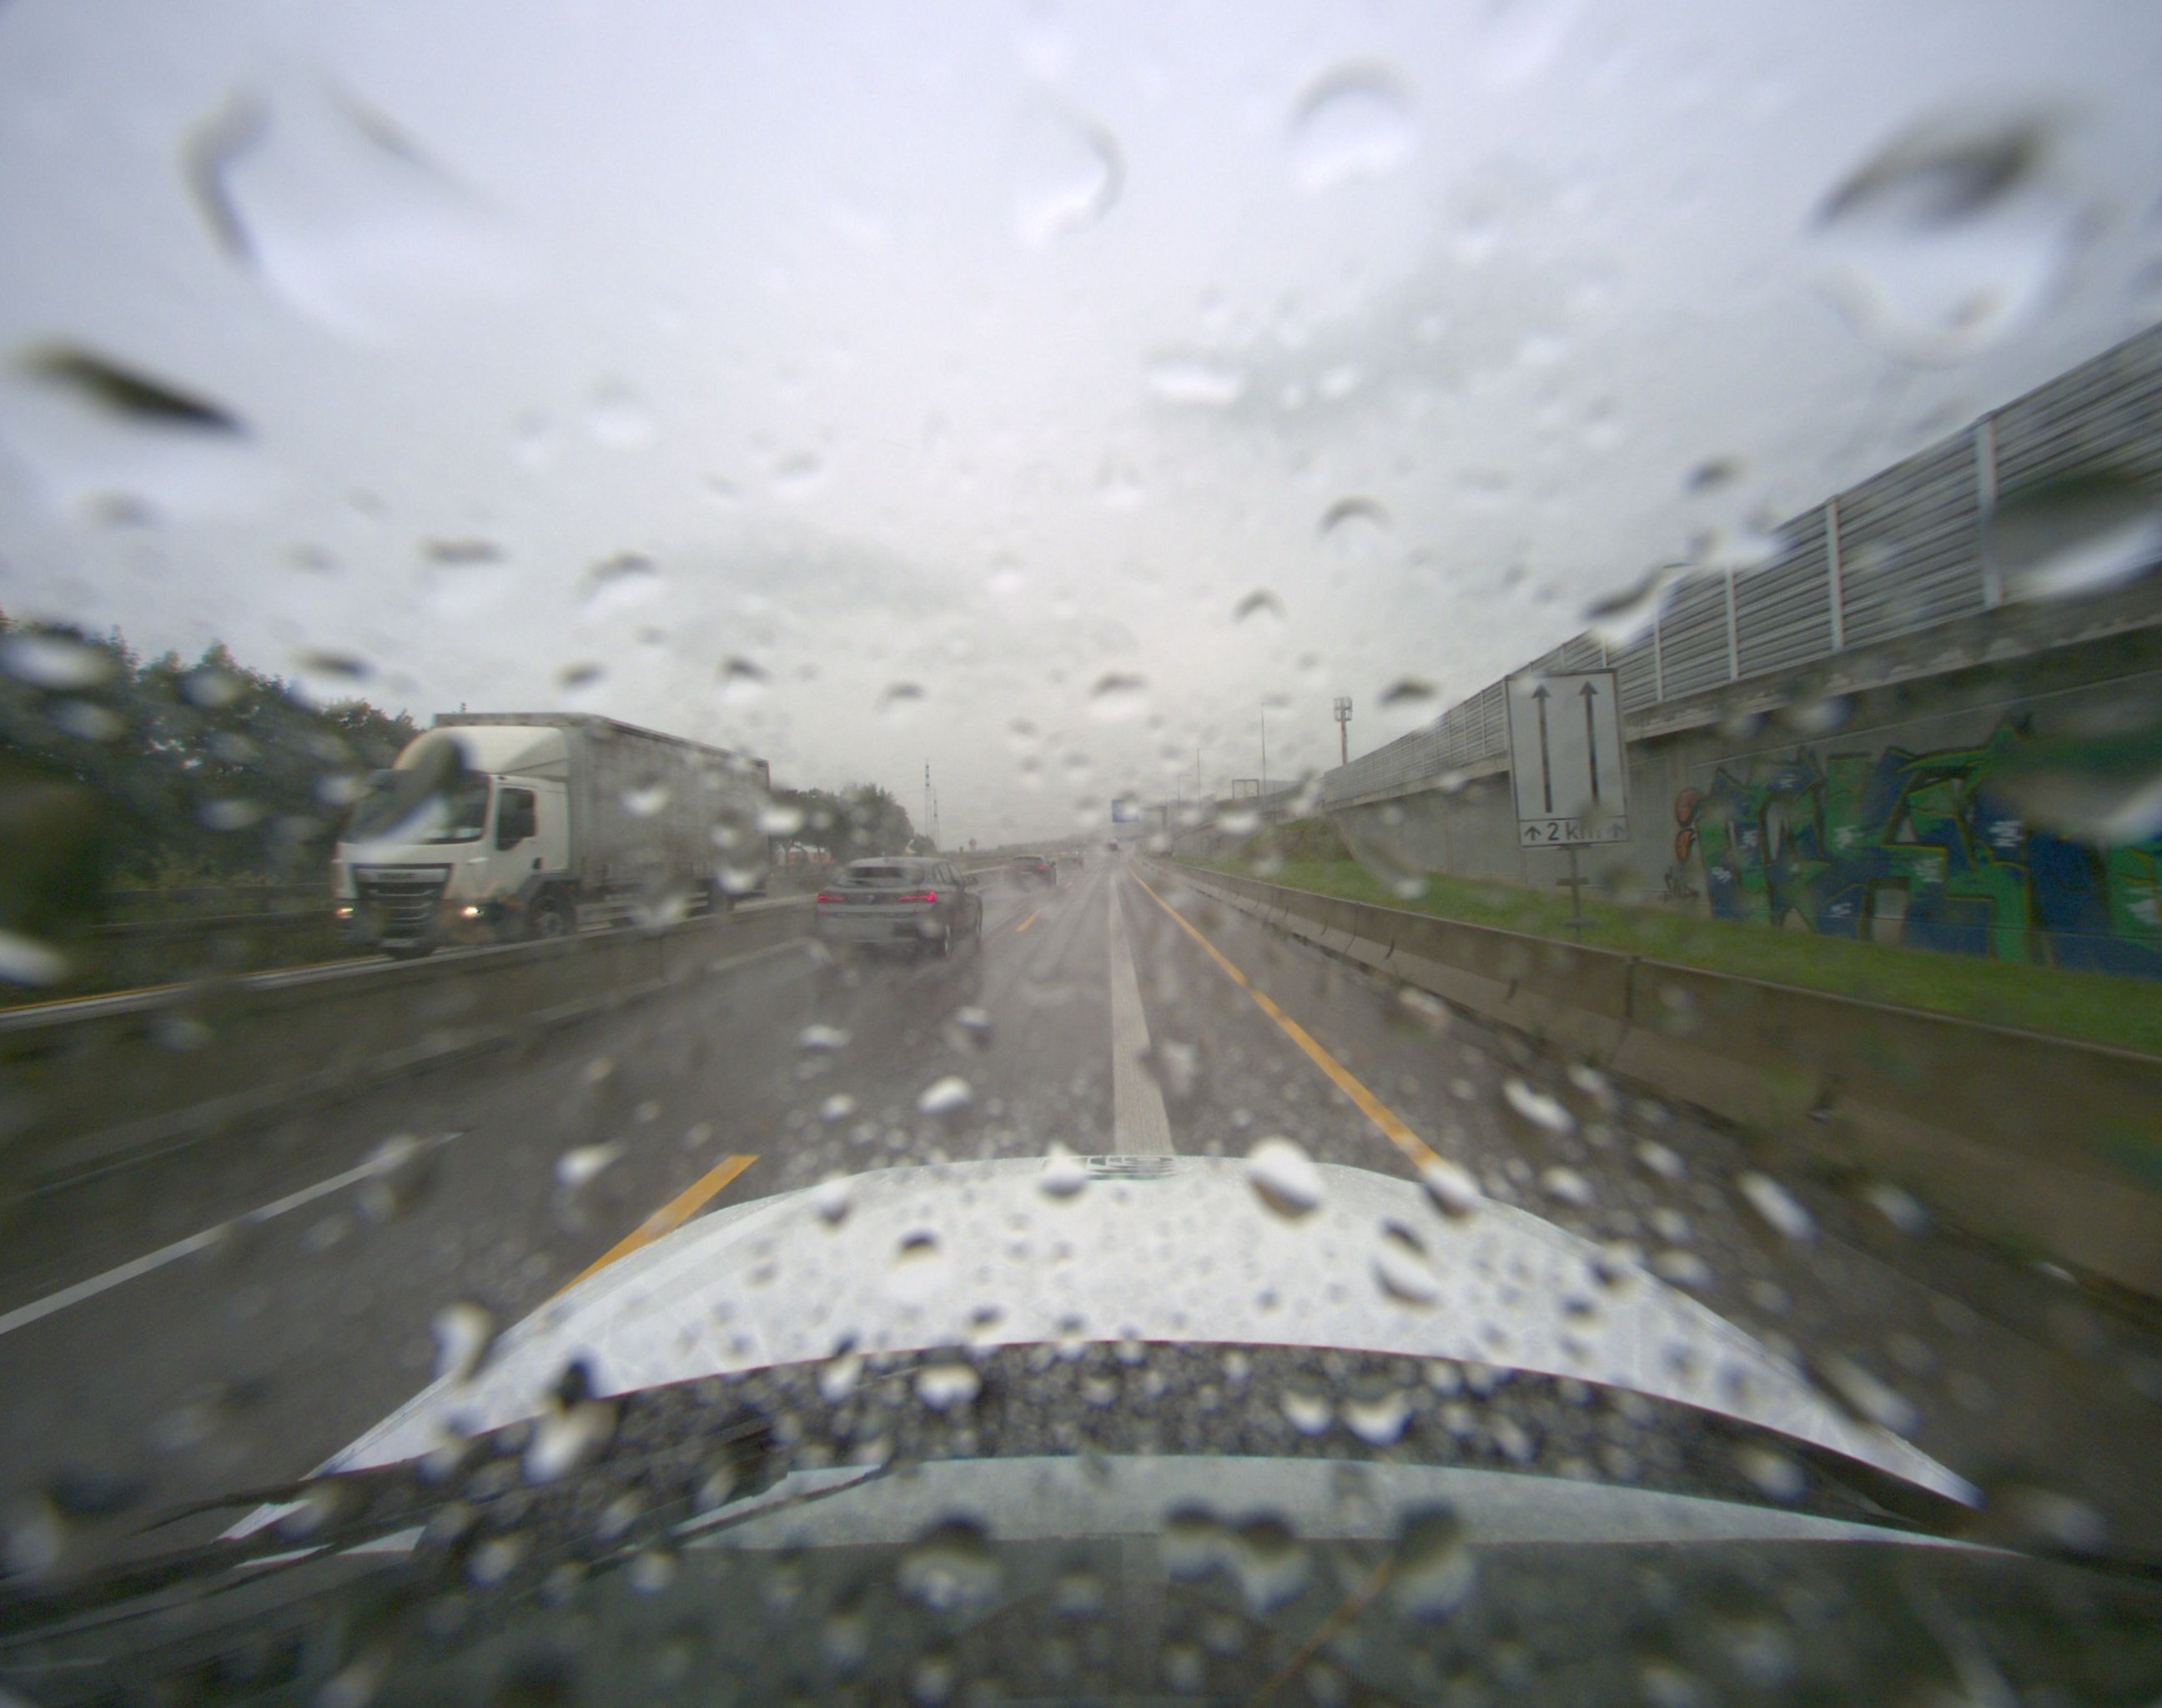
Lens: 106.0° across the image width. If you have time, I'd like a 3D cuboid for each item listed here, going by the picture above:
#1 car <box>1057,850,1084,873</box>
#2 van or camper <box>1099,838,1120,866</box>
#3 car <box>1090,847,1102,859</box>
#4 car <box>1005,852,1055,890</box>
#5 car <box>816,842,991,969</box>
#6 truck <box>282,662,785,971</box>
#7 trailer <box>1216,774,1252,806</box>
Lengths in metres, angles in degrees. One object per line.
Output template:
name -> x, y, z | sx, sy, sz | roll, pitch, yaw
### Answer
car -> -0.775, 0.501, 60.037 | 1.838, 1.491, 4.261 | -4, 0, 0
van or camper -> 2.936, -0.199, 83.926 | 1.990, 2.777, 4.048 | -1, -1, 0
car -> 2.195, -0.123, 116.384 | 1.562, 1.480, 2.820 | -4, -1, -1
car -> -2.115, 0.719, 34.783 | 1.838, 1.491, 4.260 | -1, -1, 0
car -> -2.550, 0.694, 12.861 | 1.695, 1.598, 4.844 | -1, -1, 0
truck -> -9.386, -0.460, 16.175 | 2.993, 4.166, 9.834 | -2, -1, 2
trailer -> 16.253, -6.699, 87.168 | 1.985, 2.106, 13.779 | -1, -1, 3
